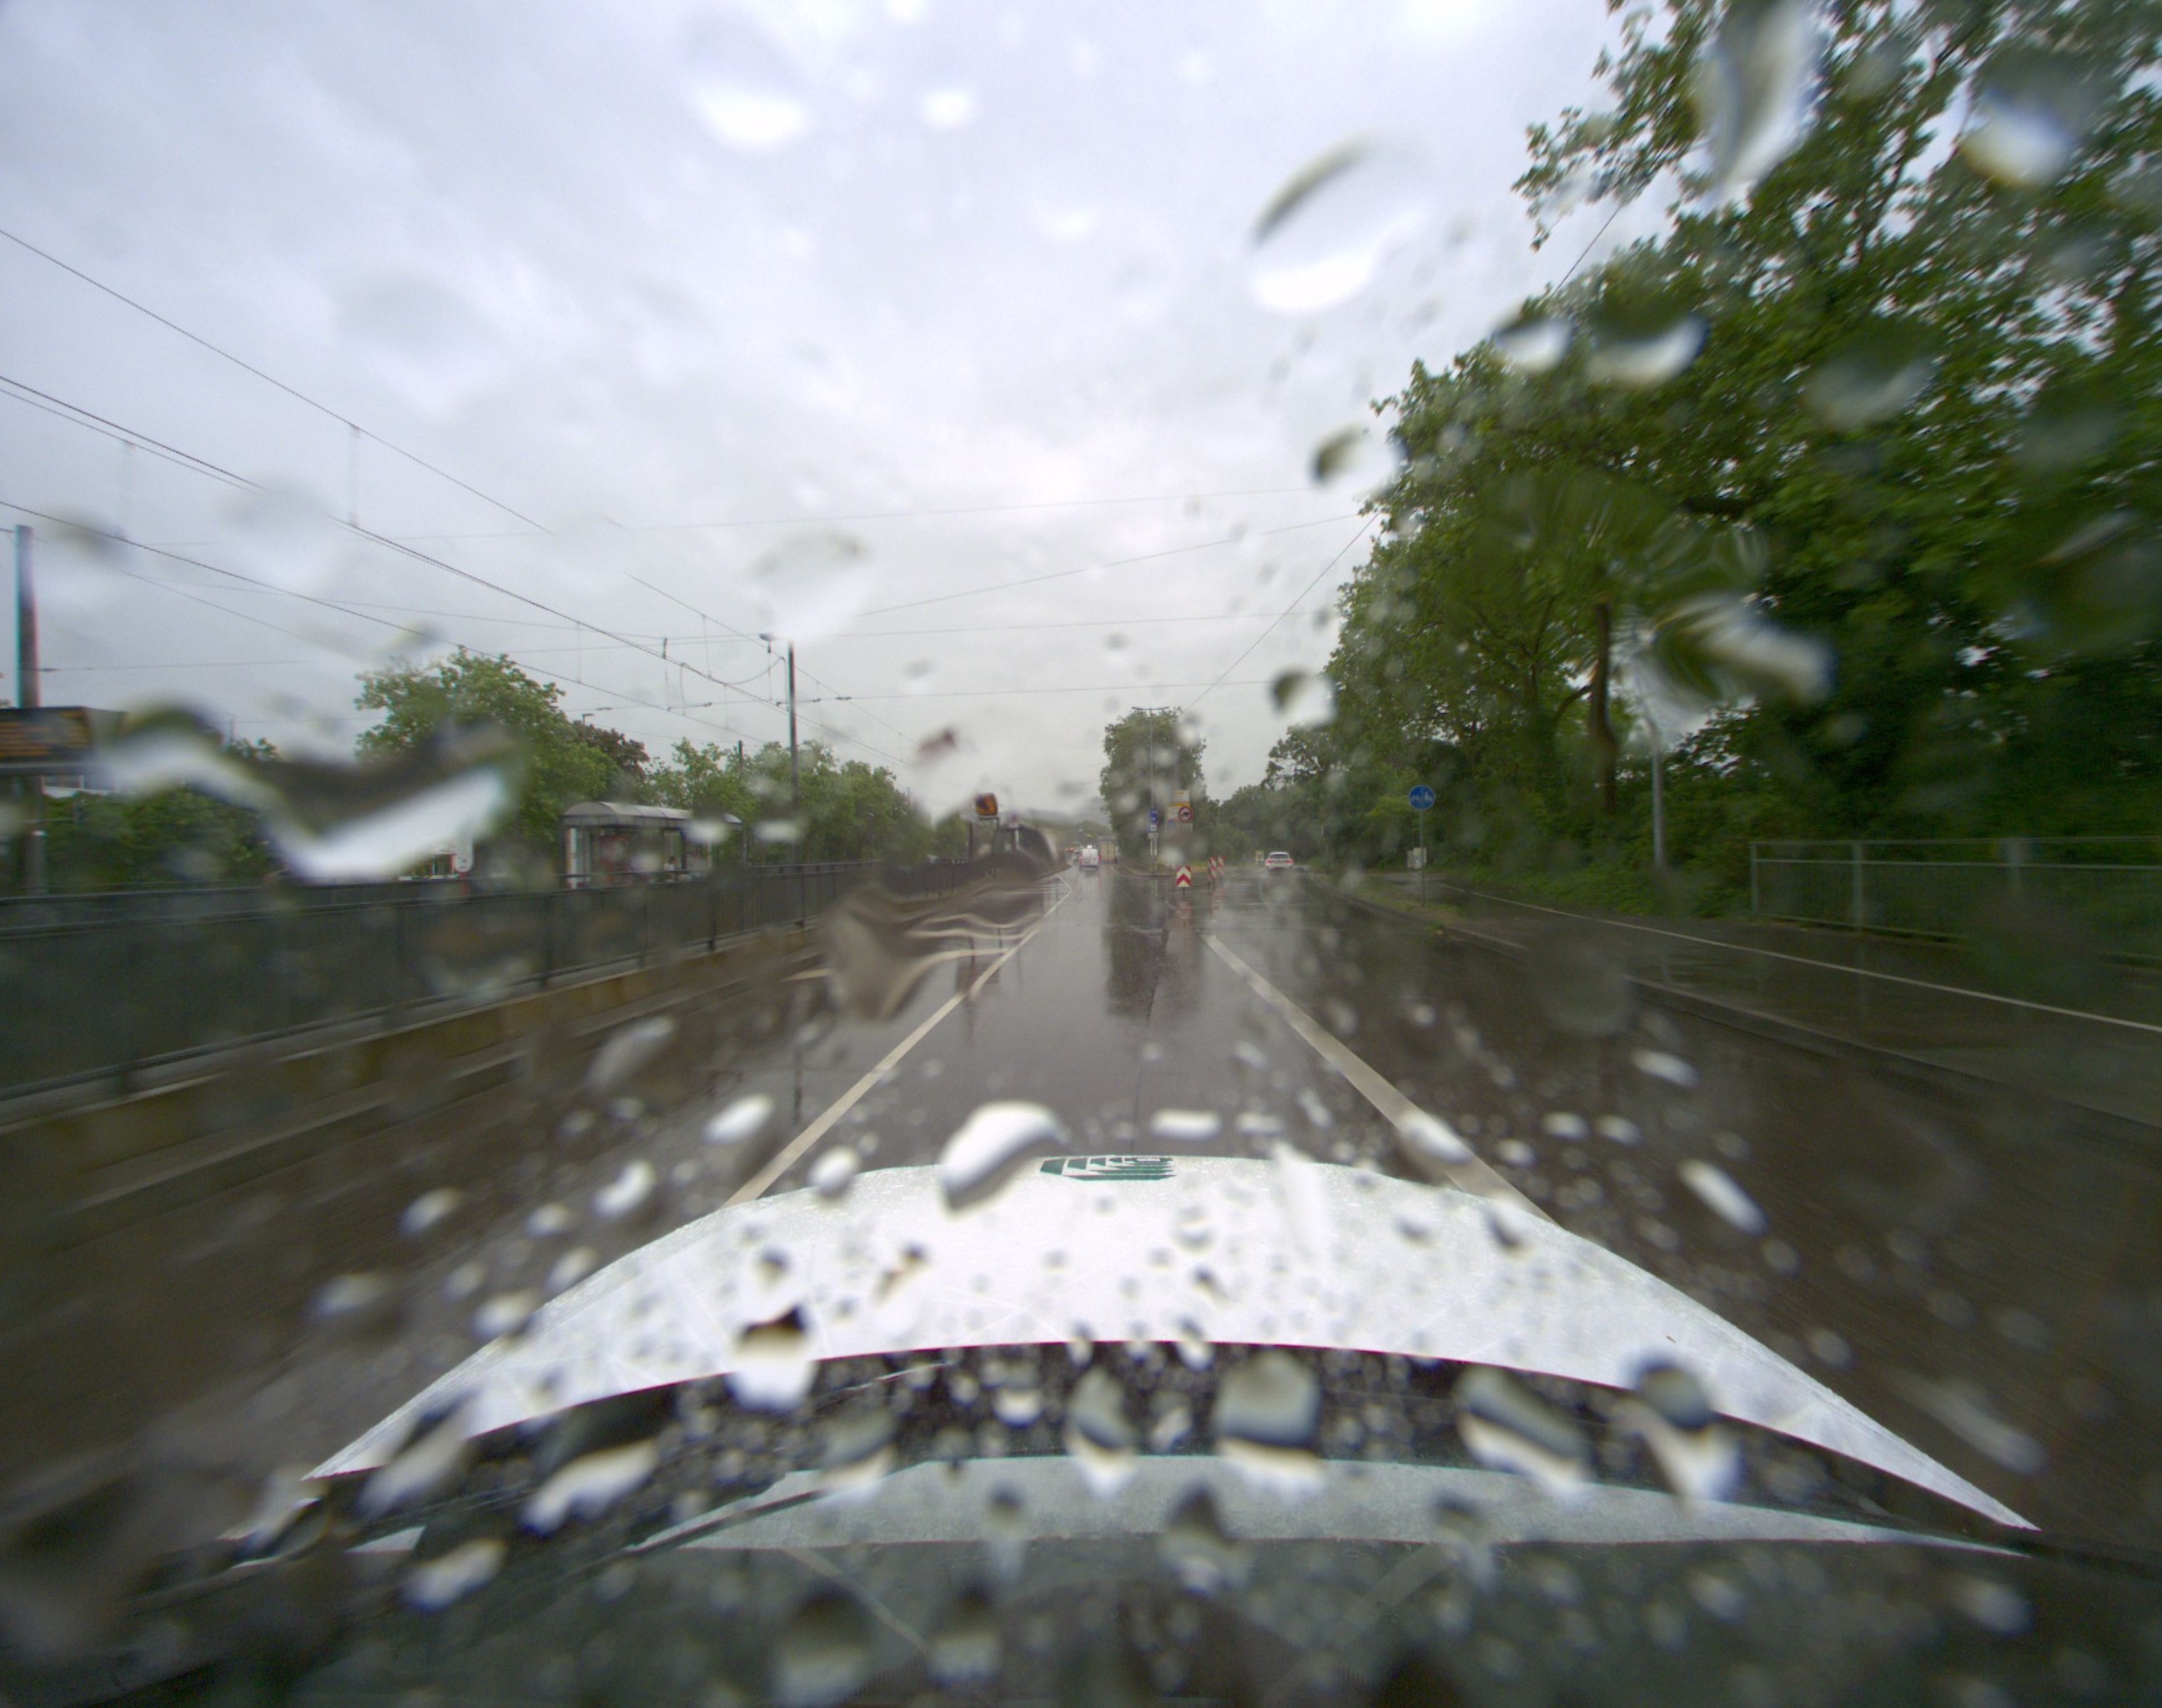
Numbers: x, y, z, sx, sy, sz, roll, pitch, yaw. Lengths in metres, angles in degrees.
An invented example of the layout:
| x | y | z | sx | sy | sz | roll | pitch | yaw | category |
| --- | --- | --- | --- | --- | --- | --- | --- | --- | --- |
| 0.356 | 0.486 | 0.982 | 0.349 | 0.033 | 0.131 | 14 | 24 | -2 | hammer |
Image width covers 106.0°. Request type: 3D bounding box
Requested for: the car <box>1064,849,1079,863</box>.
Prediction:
| x | y | z | sx | sy | sz | roll | pitch | yaw | category |
| --- | --- | --- | --- | --- | --- | --- | --- | --- | --- |
| -1.181 | 0.256 | 104.918 | 1.780 | 1.642 | 3.969 | -1 | 0 | 1 | car |

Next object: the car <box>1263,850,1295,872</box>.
| x | y | z | sx | sy | sz | roll | pitch | yaw | category |
| --- | --- | --- | --- | --- | --- | --- | --- | --- | --- |
| 13.146 | 0.441 | 53.917 | 1.874 | 1.431 | 4.017 | -1 | 0 | 16 | car |

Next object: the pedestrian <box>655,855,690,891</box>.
| x | y | z | sx | sy | sz | roll | pitch | yaw | category |
| --- | --- | --- | --- | --- | --- | --- | --- | --- | --- |
| -14.960 | 0.692 | 29.815 | 0.828 | 1.316 | 0.858 | 0 | 0 | 2 | pedestrian |

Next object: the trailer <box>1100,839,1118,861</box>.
| x | y | z | sx | sy | sz | roll | pitch | yaw | category |
| --- | --- | --- | --- | --- | --- | --- | --- | --- | --- |
| 3.700 | -0.544 | 105.671 | 2.156 | 2.757 | 5.682 | -1 | 0 | 4 | trailer |

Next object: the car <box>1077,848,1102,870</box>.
| x | y | z | sx | sy | sz | roll | pitch | yaw | category |
| --- | --- | --- | --- | --- | --- | --- | --- | --- | --- |
| 0.714 | 0.403 | 70.115 | 1.988 | 1.849 | 3.997 | -1 | 0 | -2 | car |

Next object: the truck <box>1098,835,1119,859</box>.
| x | y | z | sx | sy | sz | roll | pitch | yaw | category |
| --- | --- | --- | --- | --- | --- | --- | --- | --- | --- |
| 4.563 | -1.112 | 136.882 | 2.768 | 3.704 | 9.844 | -1 | 0 | -2 | truck |
